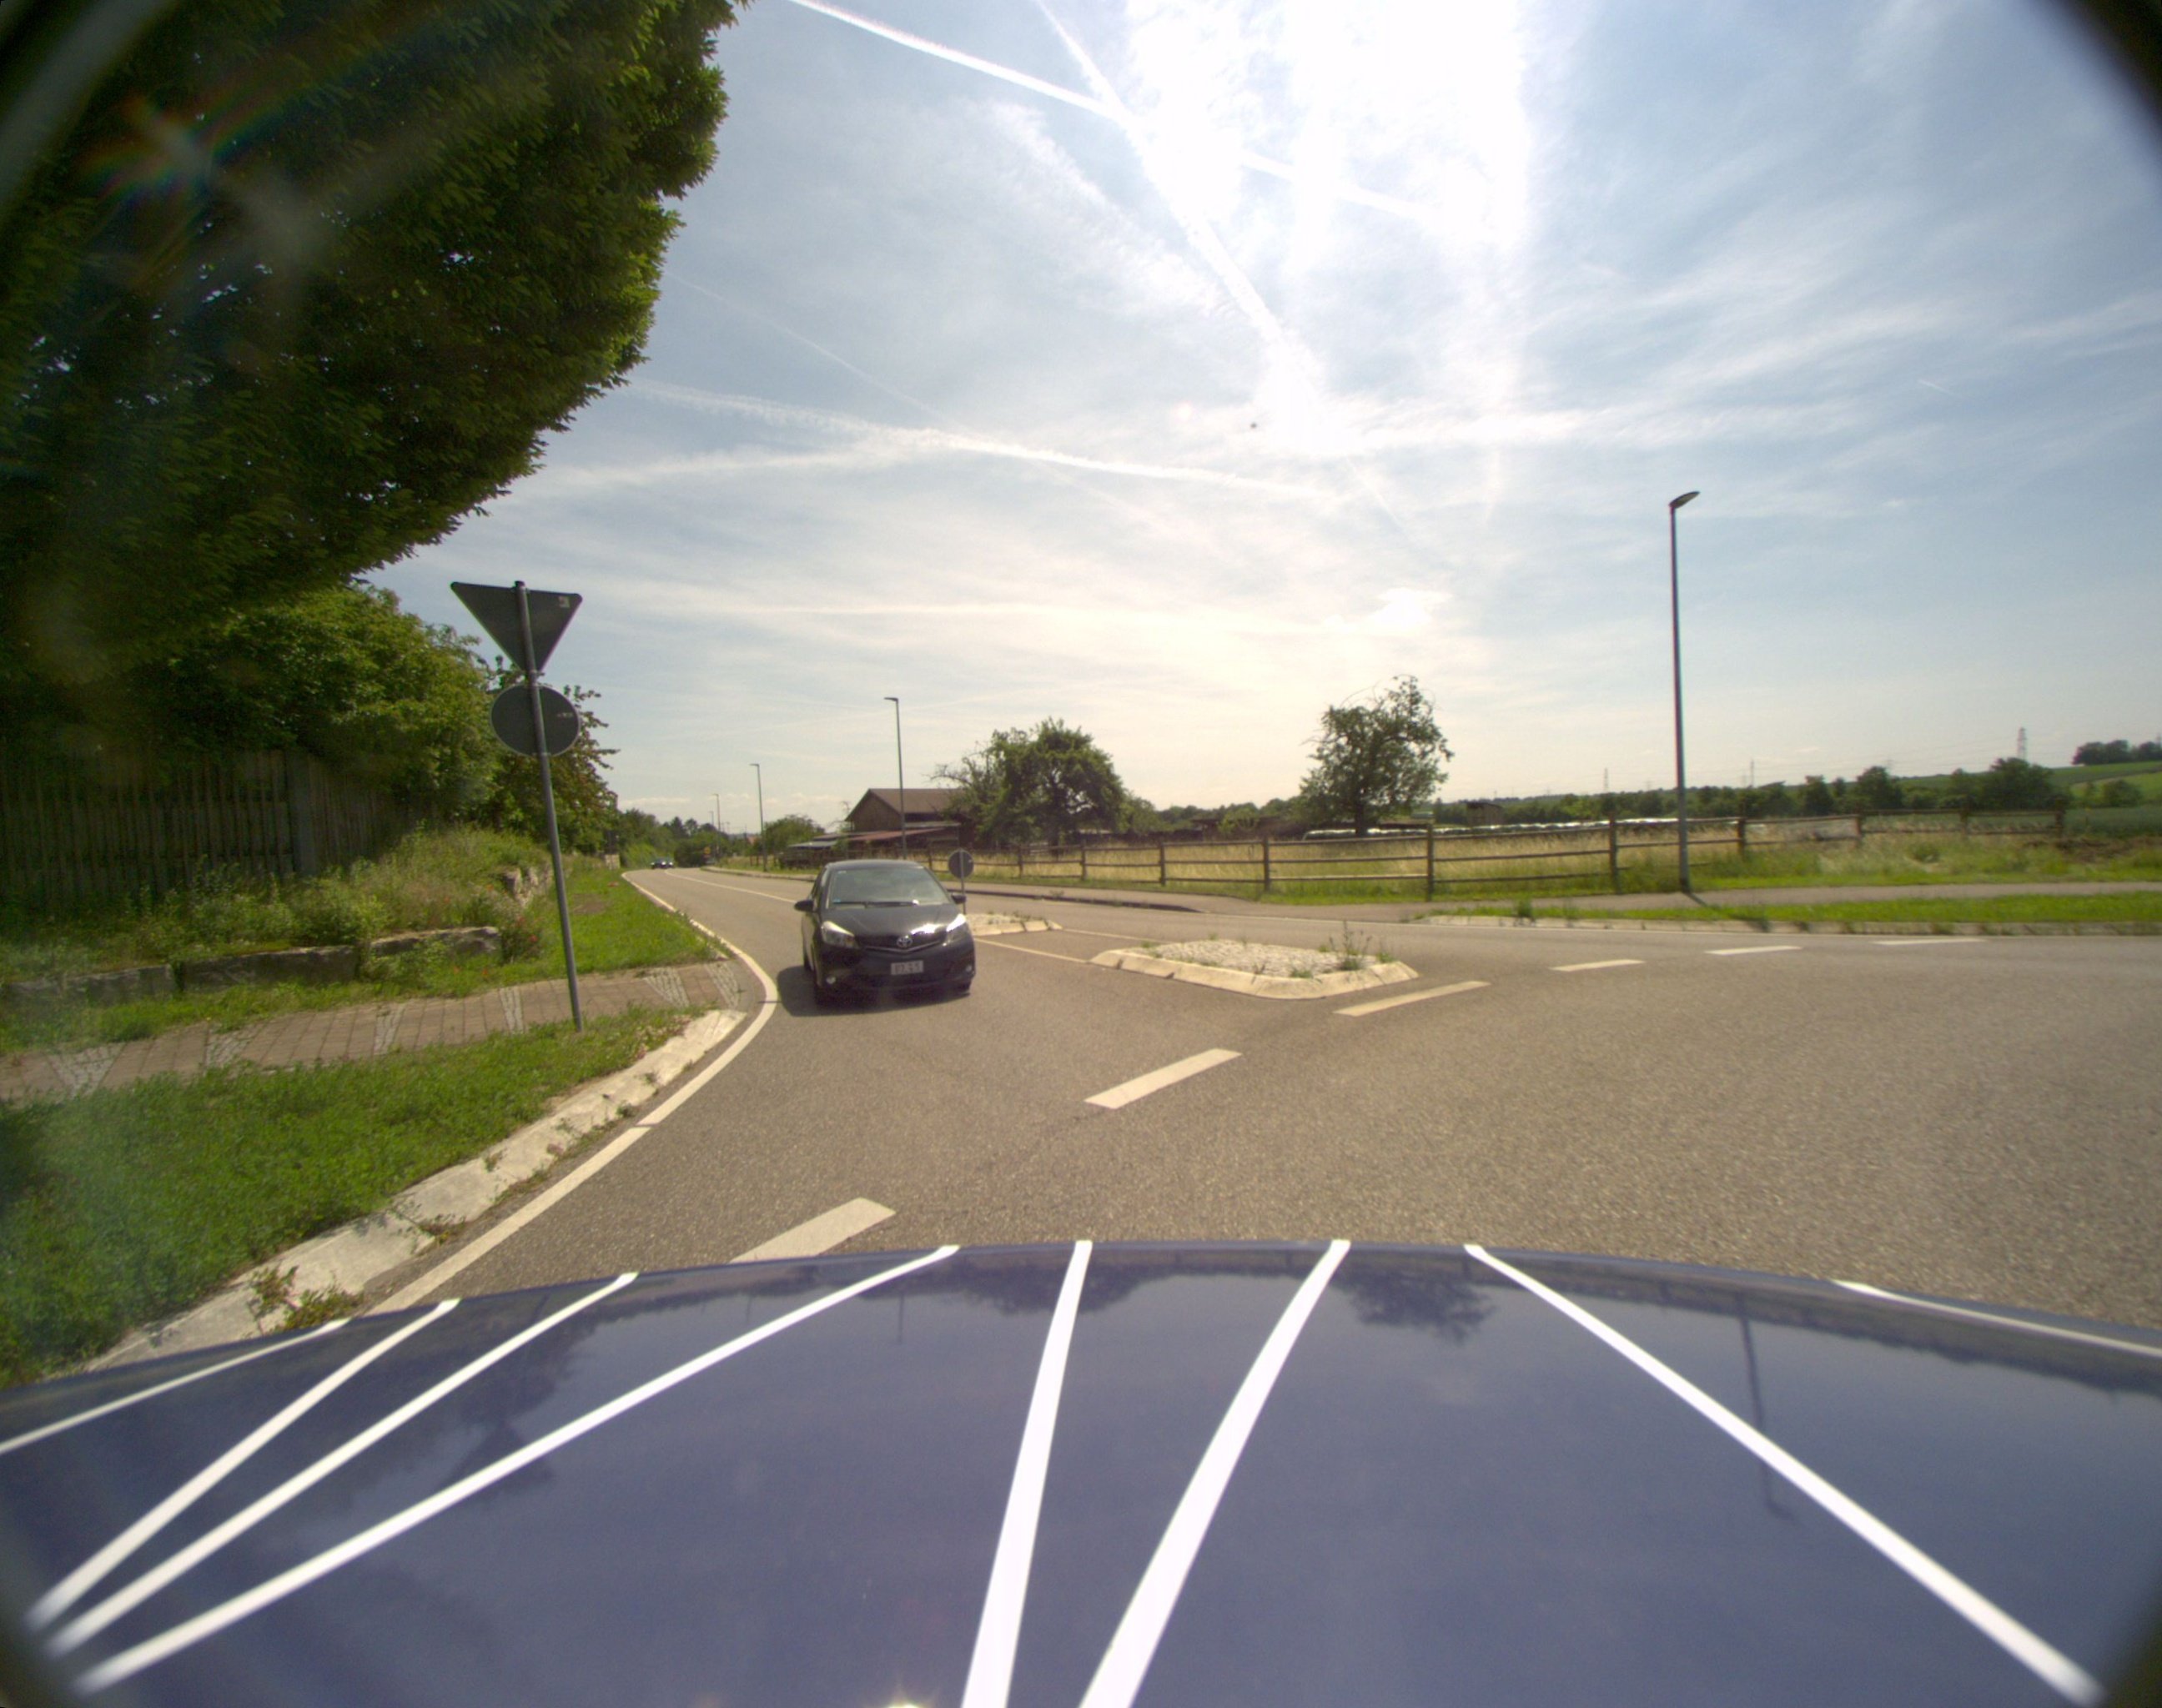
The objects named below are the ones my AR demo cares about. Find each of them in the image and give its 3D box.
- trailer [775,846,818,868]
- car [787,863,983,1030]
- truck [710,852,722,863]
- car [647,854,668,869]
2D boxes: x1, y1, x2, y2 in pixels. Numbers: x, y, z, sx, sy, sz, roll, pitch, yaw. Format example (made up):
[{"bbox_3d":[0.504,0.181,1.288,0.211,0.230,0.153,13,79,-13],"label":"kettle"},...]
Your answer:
[{"bbox_3d":[-22.724,0.220,60.505,2.165,1.693,5.016,-2,1,-32],"label":"trailer"},{"bbox_3d":[-2.678,0.902,9.553,1.680,1.456,4.423,-2,1,-23],"label":"car"},{"bbox_3d":[-84.384,0.815,175.669,2.232,2.280,6.477,-2,1,-26],"label":"truck"},{"bbox_3d":[-59.851,1.036,107.357,2.196,2.002,4.769,-5,3,-32],"label":"car"}]
